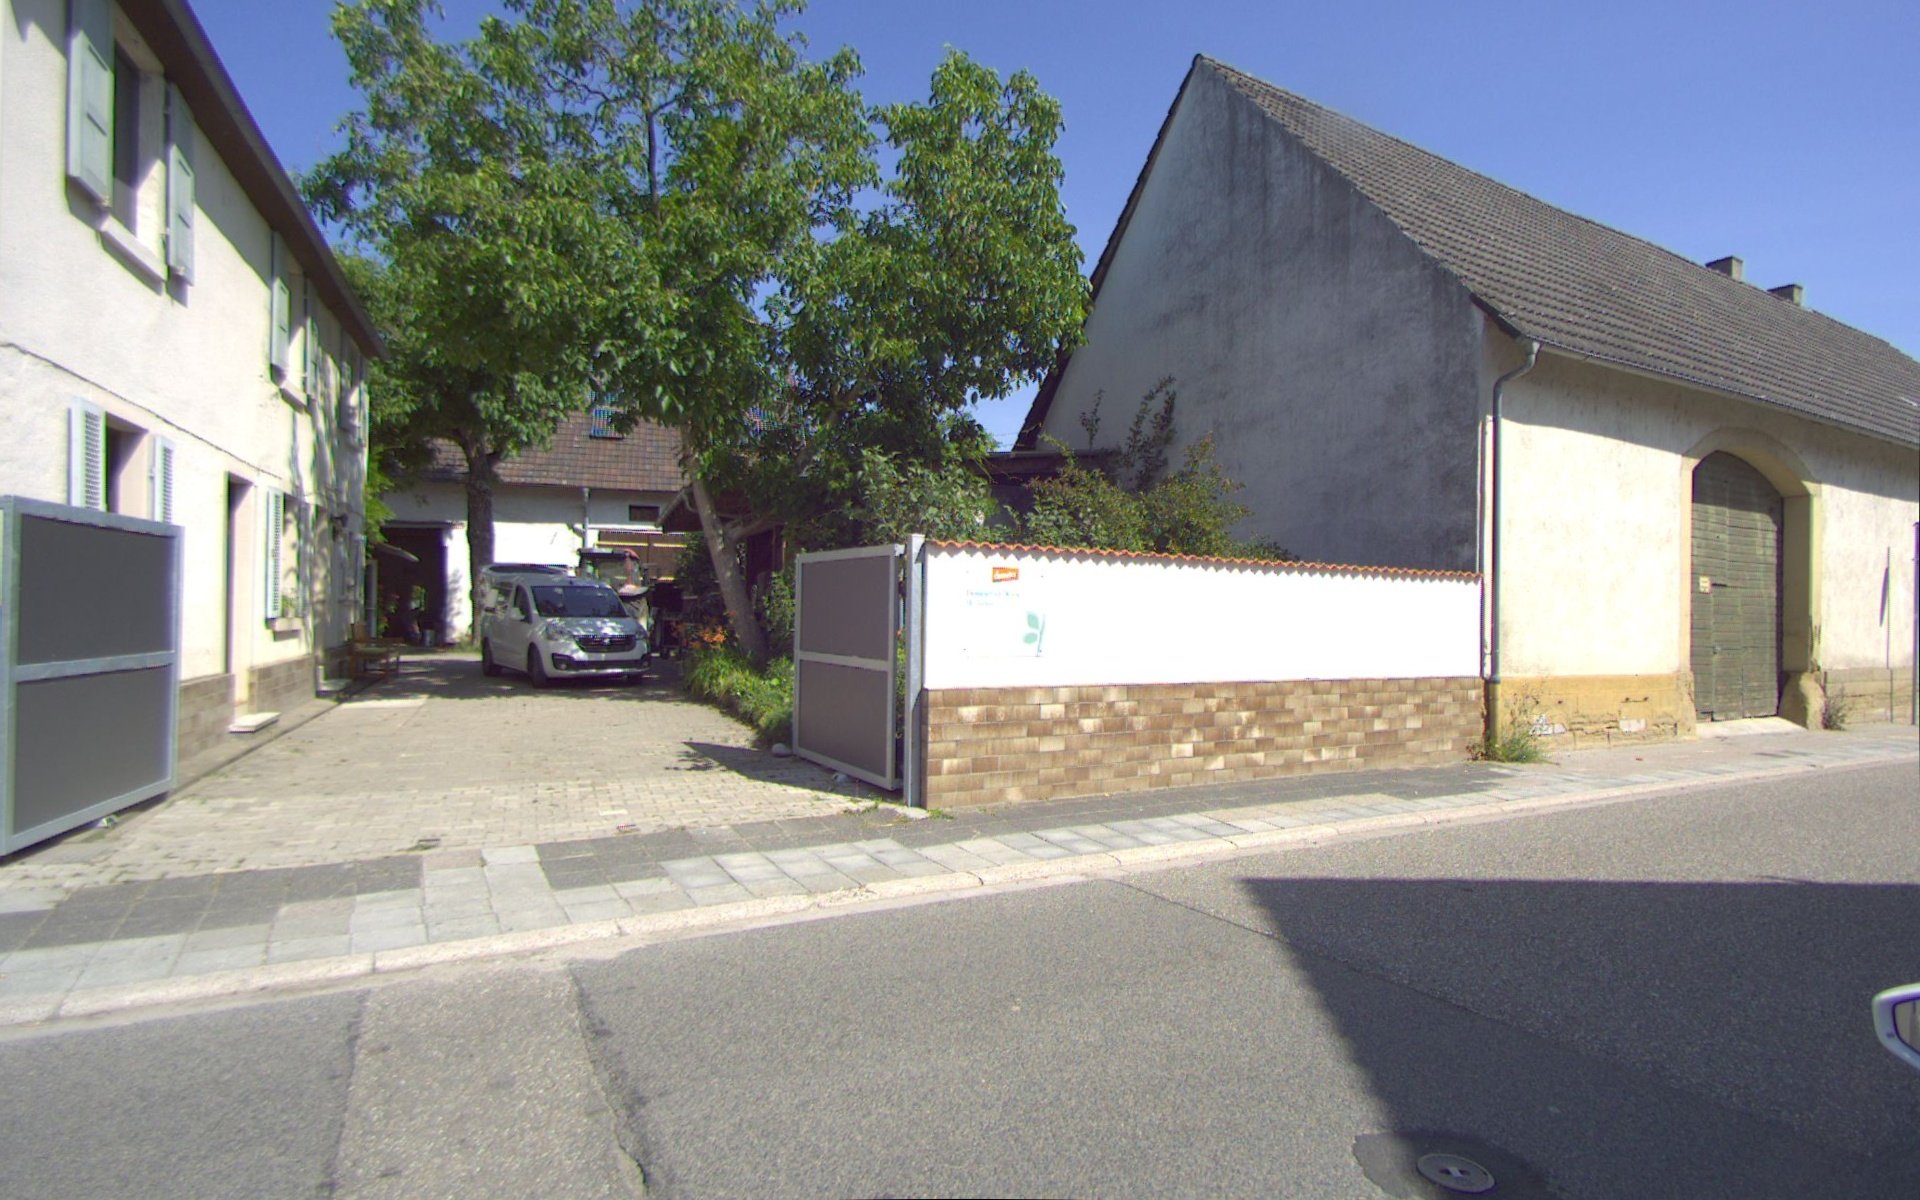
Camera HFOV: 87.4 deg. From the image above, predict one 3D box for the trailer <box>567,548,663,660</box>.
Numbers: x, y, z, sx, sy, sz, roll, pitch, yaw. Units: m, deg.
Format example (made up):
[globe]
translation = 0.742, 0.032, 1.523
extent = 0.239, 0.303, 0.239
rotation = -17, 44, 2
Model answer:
[trailer]
translation = -9.318, 0.168, 27.424
extent = 1.871, 2.791, 4.246
rotation = 1, -1, -11

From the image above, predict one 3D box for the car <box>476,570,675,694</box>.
[car]
translation = -6.567, 0.448, 16.897
extent = 1.889, 1.822, 4.206
rotation = 2, 0, -39
